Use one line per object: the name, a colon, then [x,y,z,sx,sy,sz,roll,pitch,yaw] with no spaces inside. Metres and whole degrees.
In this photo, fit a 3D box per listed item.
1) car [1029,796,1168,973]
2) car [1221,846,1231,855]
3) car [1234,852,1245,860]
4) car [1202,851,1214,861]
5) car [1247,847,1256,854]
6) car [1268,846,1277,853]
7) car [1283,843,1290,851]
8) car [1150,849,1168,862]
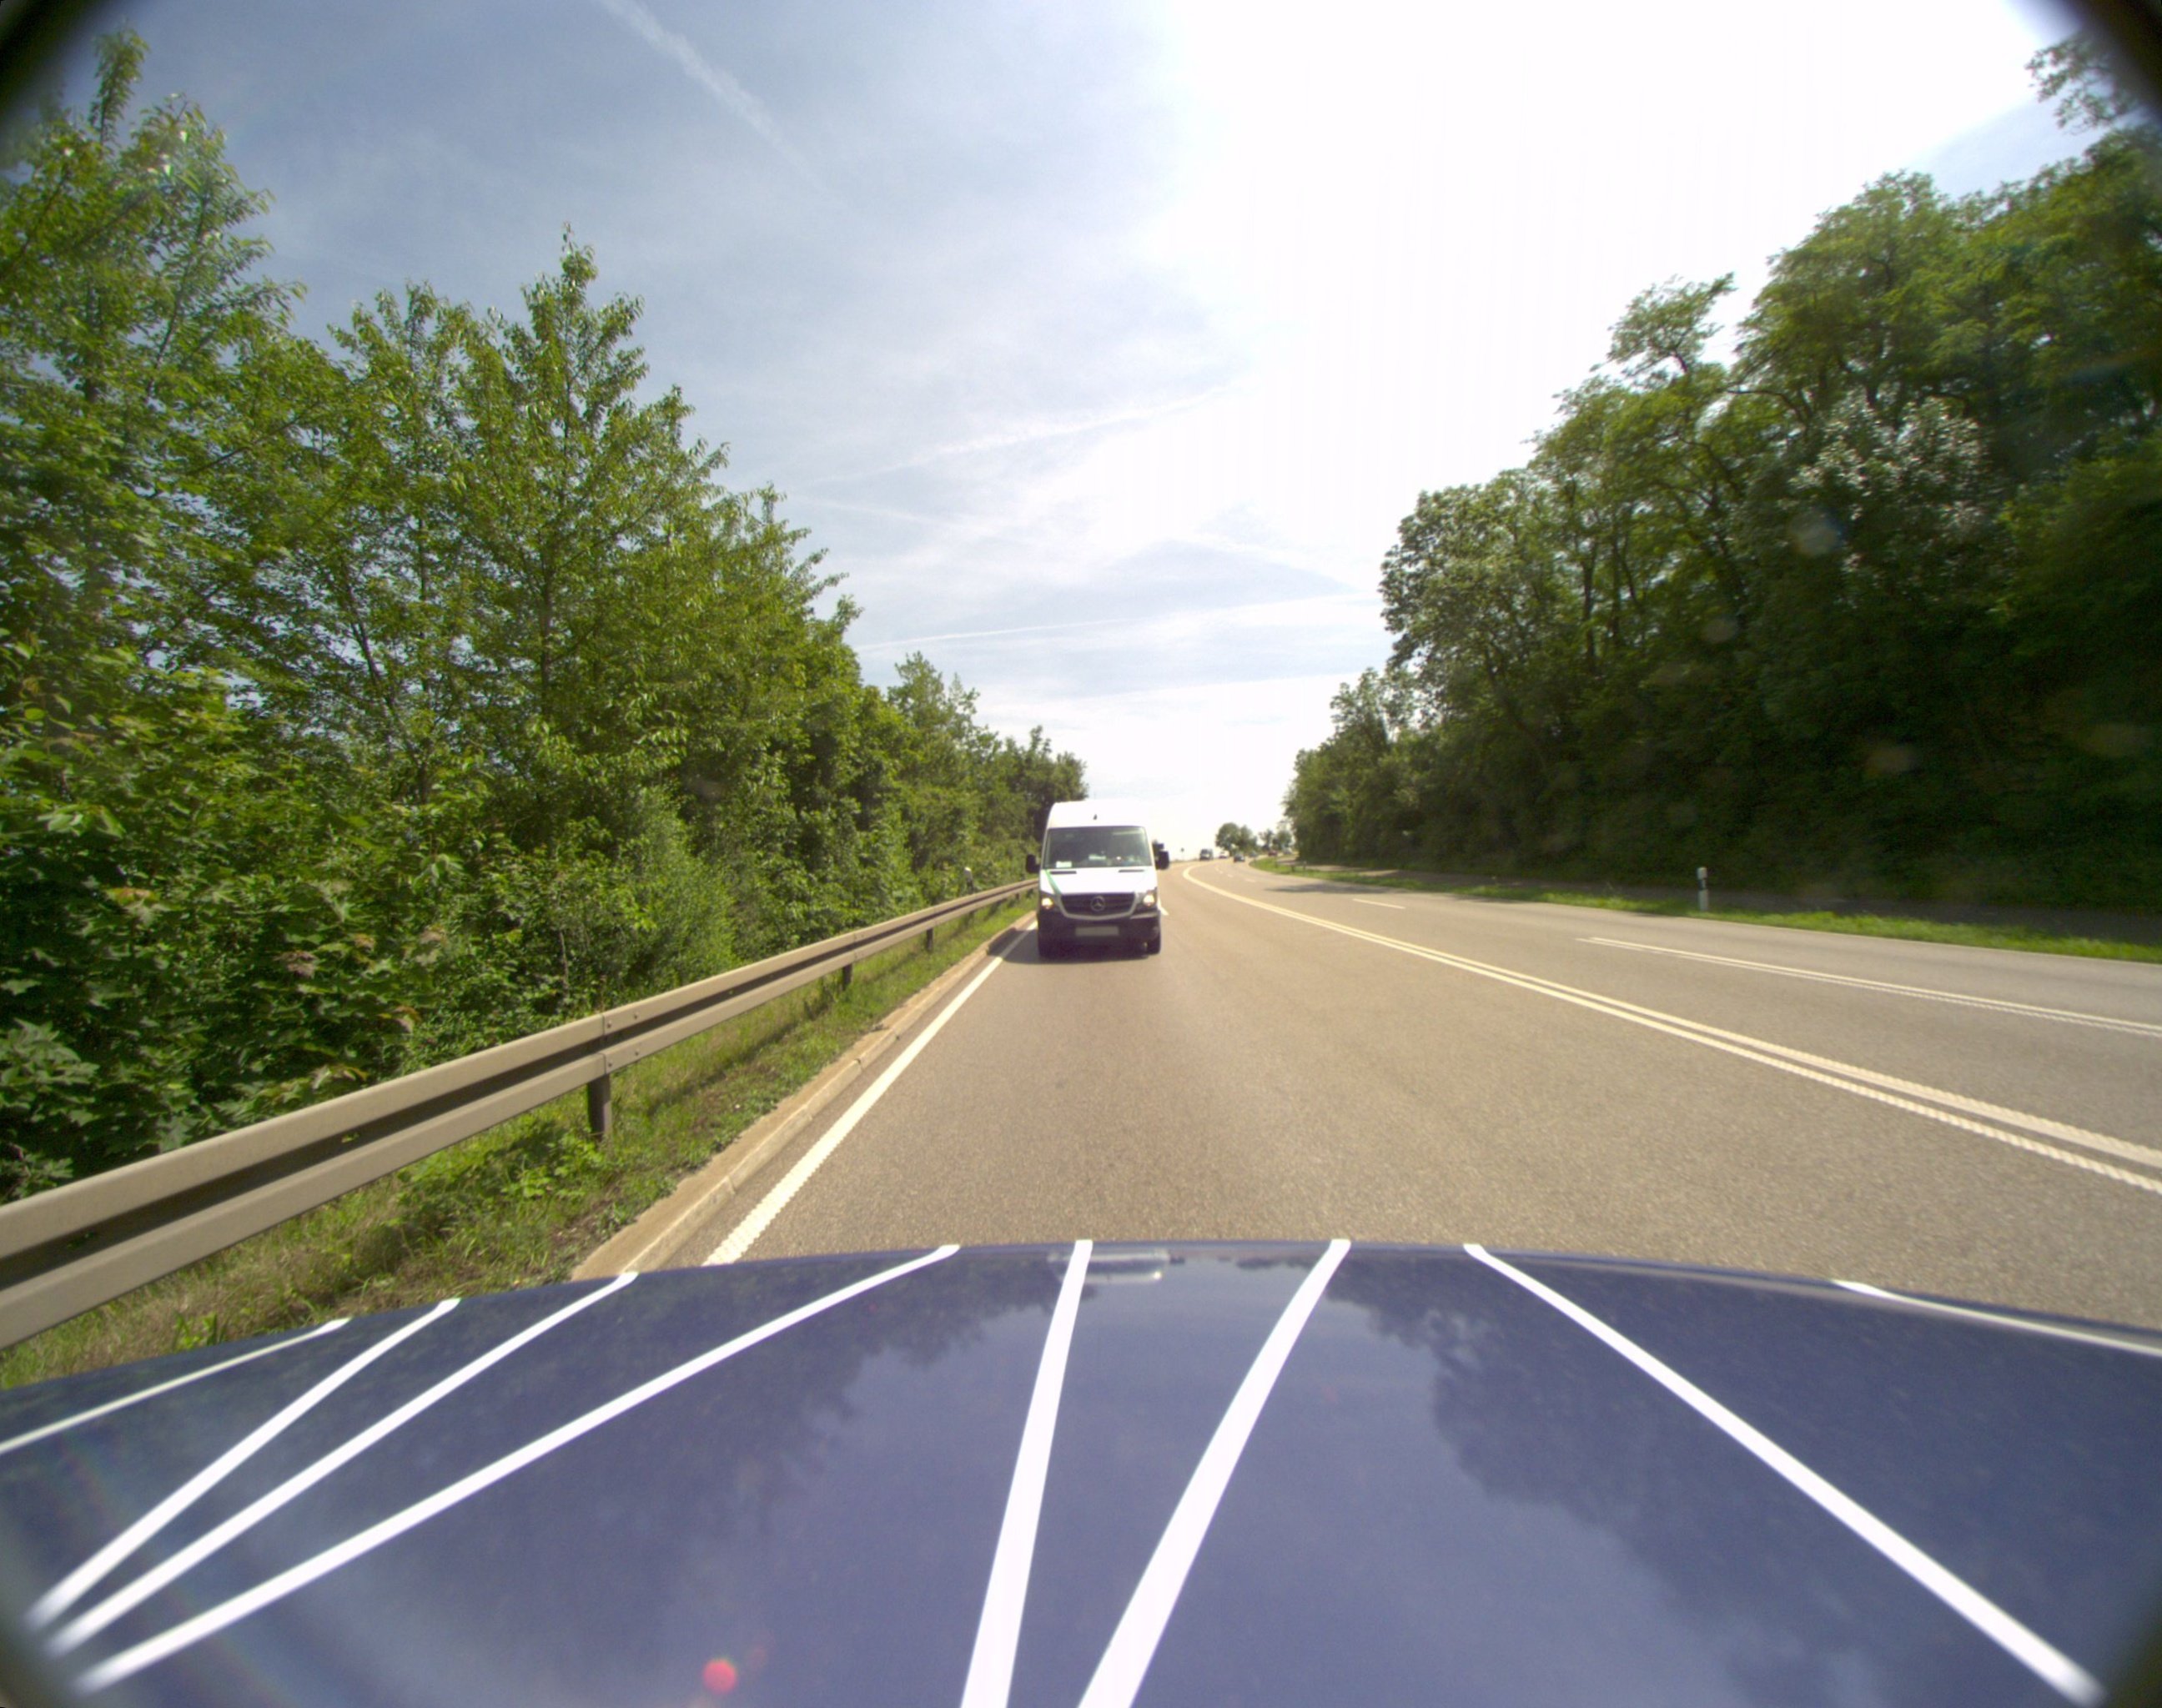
car: [0.316,0.441,13.430,1.958,2.502,5.267,0,0,2]
car: [34.640,-0.843,181.083,1.849,2.002,3.876,-2,1,17]
car: [26.903,0.307,128.854,1.805,1.379,3.874,-2,0,12]
car: [26.488,0.370,158.090,1.996,2.002,4.005,-2,0,16]
car: [40.535,-0.773,180.537,1.958,1.717,3.915,-2,0,14]
car: [46.714,-1.108,185.416,1.996,1.665,4.003,-2,1,14]
car: [57.061,-2.026,210.722,1.815,2.002,3.874,-2,1,17]
car: [10.637,0.211,103.376,1.997,1.718,4.003,-2,1,11]
